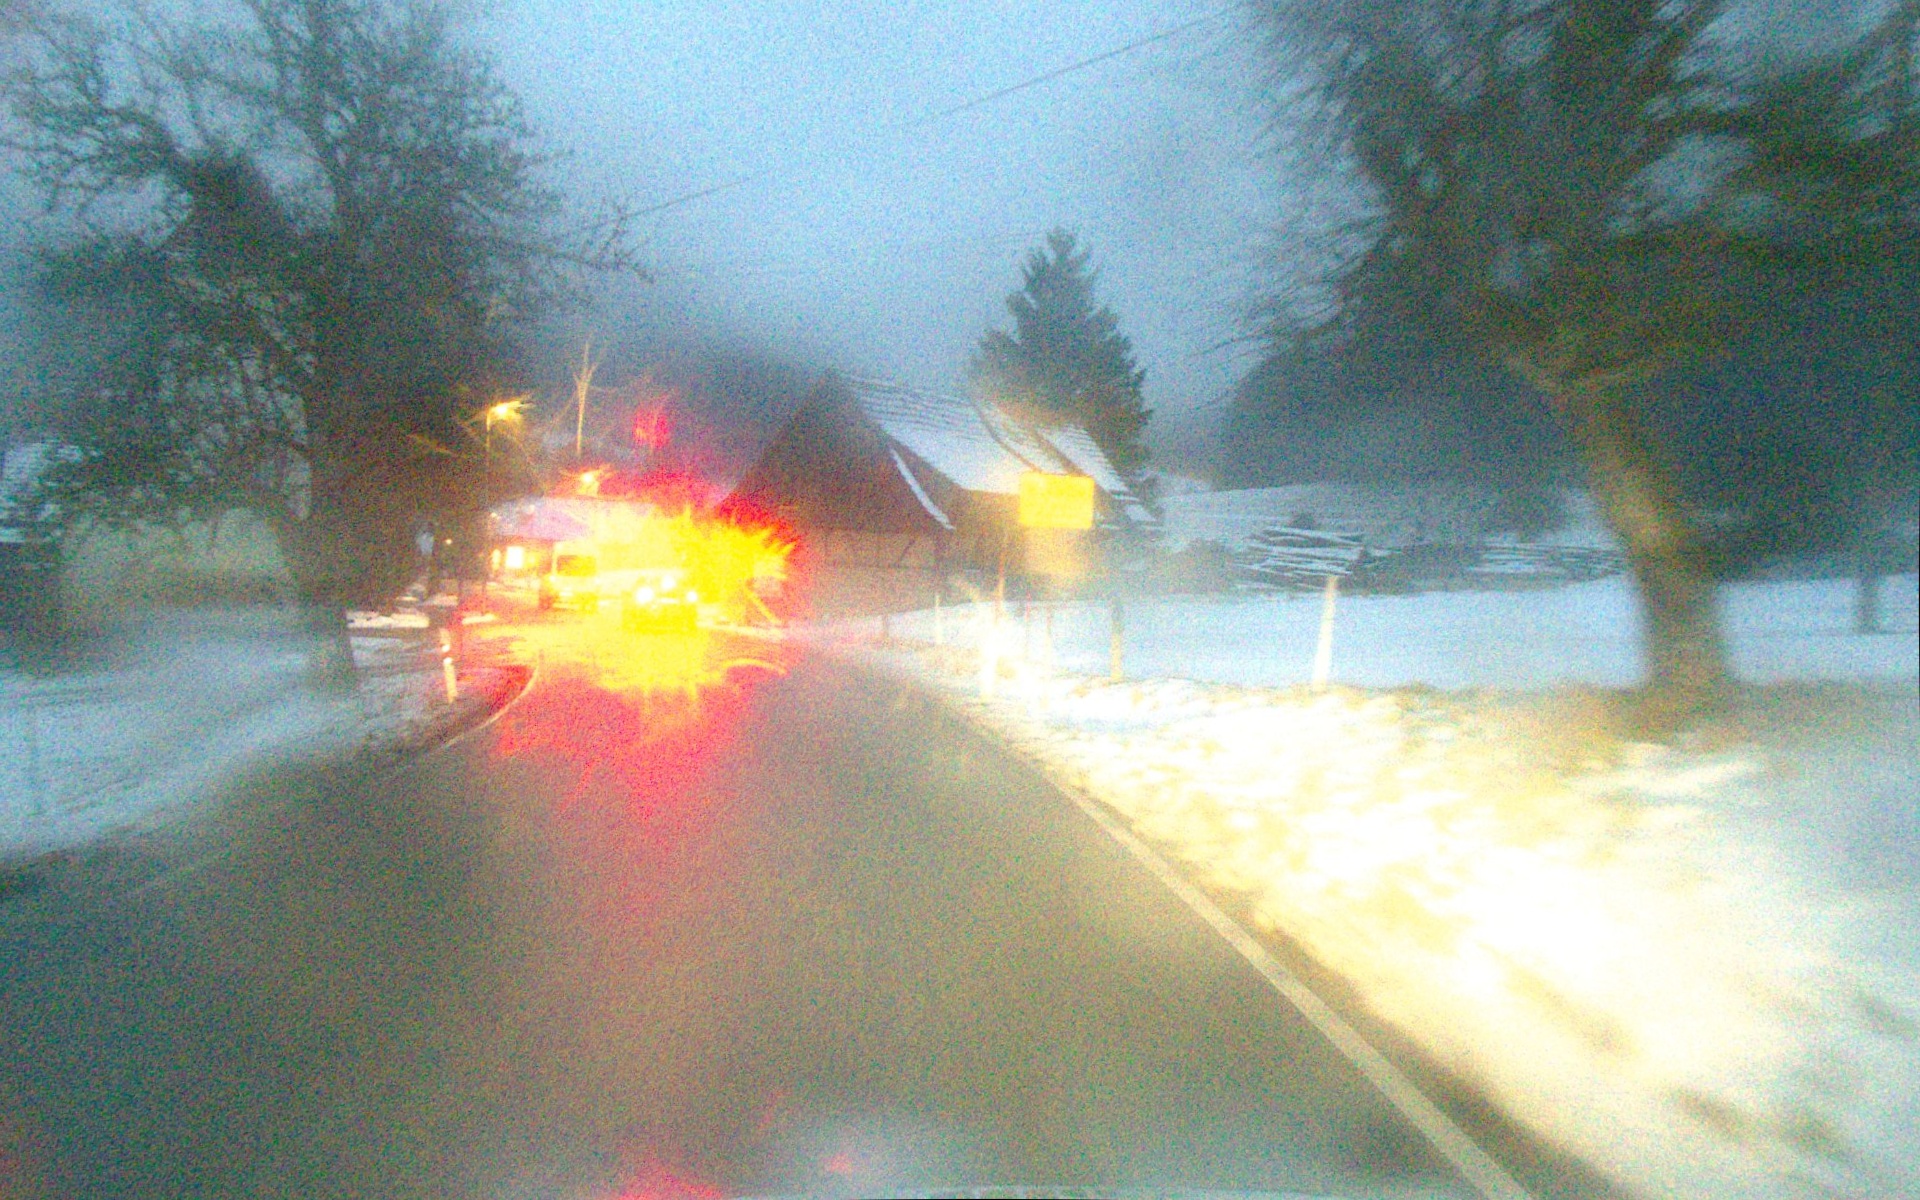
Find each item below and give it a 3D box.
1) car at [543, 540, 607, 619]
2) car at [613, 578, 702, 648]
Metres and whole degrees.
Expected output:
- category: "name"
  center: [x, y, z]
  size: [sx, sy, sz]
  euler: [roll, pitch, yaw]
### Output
- category: "car"
  center: [-15.721, -0.764, 67.695]
  size: [2.392, 3.071, 5.309]
  euler: [1, -1, -12]
- category: "car"
  center: [-8.583, 0.311, 46.663]
  size: [2.235, 1.873, 4.990]
  euler: [0, 1, -13]
